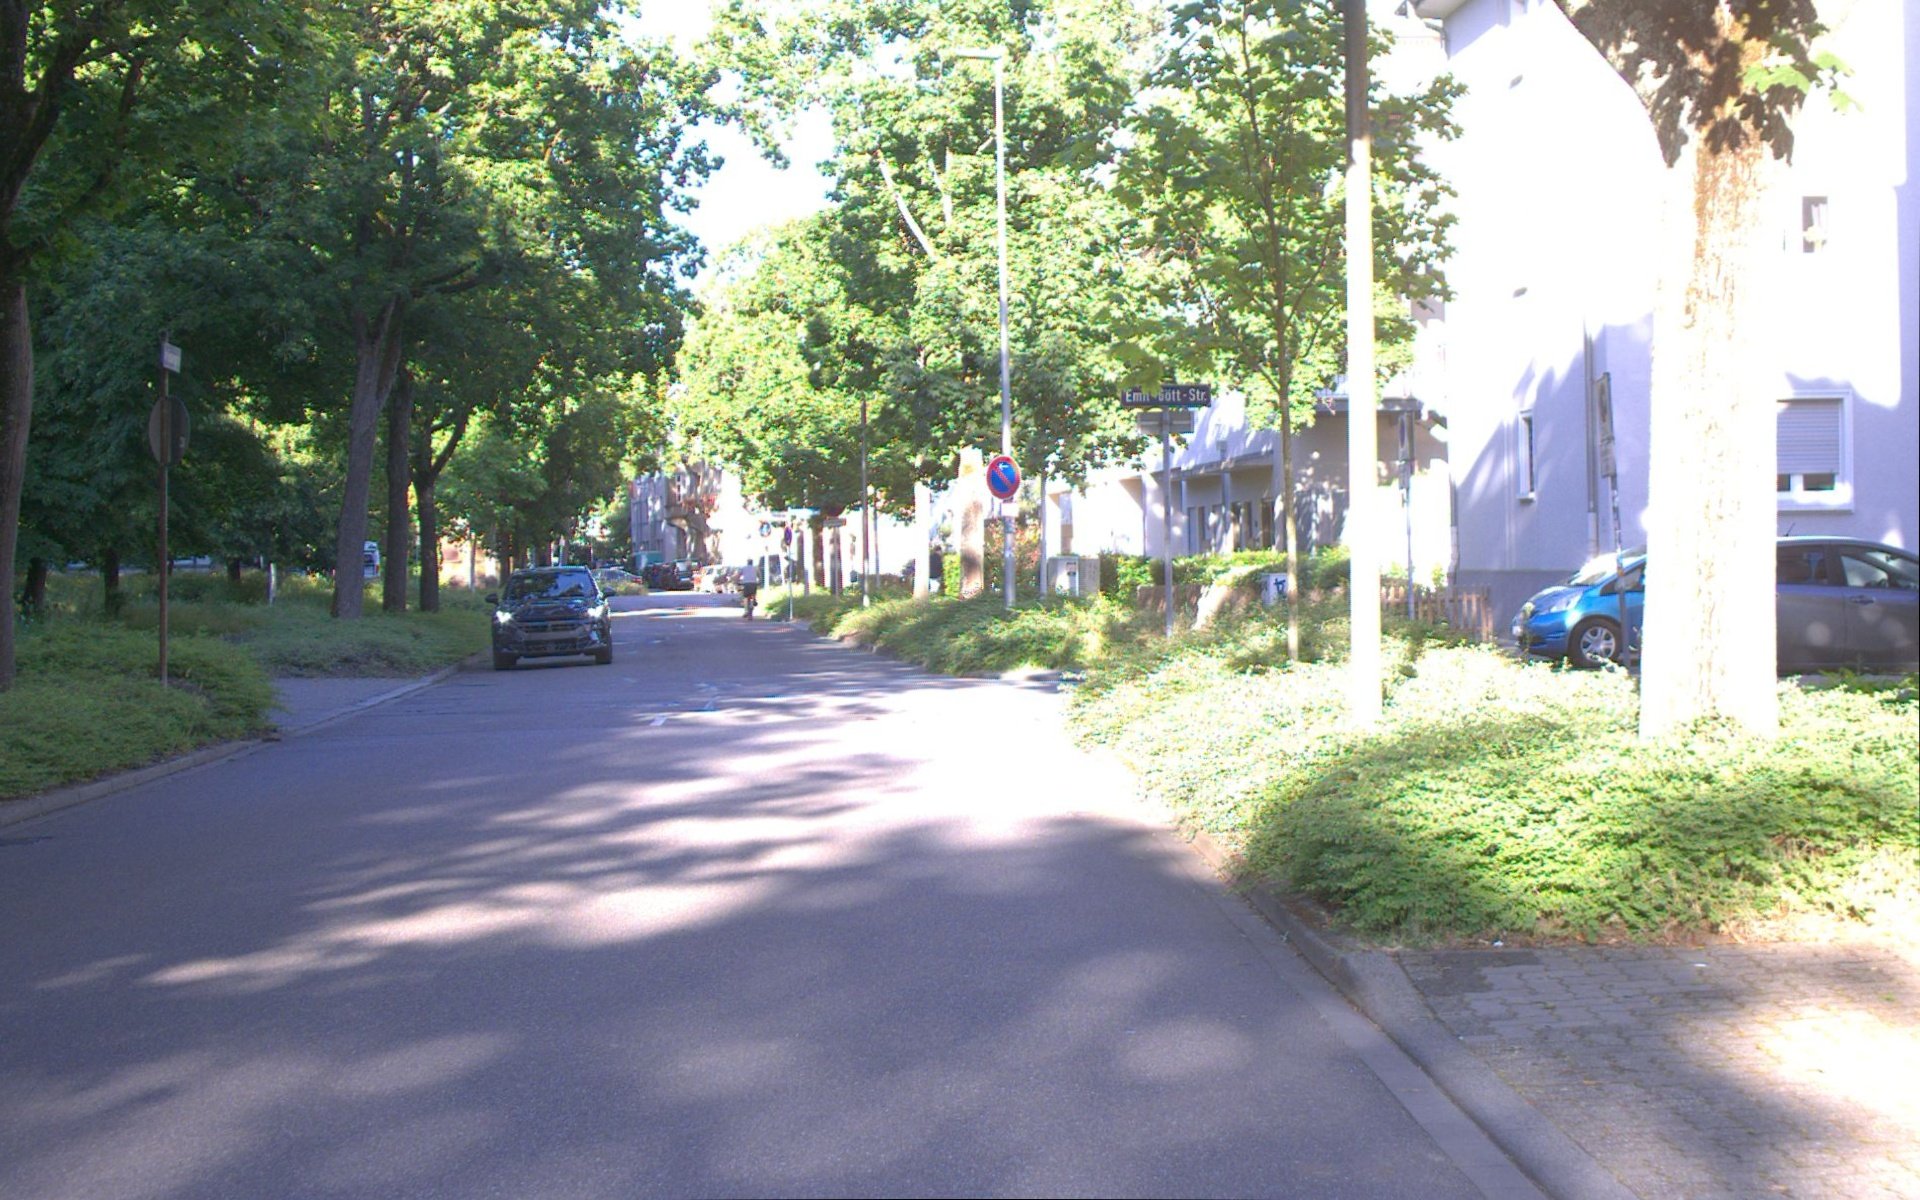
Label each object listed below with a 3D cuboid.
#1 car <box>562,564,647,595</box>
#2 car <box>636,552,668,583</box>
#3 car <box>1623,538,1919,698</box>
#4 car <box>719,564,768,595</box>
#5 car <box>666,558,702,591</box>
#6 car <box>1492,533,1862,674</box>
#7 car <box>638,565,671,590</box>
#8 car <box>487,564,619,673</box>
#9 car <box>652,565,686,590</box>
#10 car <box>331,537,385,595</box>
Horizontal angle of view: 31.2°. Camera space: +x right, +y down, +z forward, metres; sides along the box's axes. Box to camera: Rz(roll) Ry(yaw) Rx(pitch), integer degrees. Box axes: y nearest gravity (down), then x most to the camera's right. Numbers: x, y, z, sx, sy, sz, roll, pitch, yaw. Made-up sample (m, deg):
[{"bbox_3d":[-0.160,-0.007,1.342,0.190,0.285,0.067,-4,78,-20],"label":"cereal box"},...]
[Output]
[{"bbox_3d":[-17.766,-1.029,171.782,3.986,1.496,1.818,0,0,-13],"label":"car"},{"bbox_3d":[-20.380,-2.147,227.351,1.811,2.043,4.001,1,1,-9],"label":"car"},{"bbox_3d":[8.698,0.183,33.575,4.040,1.509,1.727,0,-1,-4],"label":"car"},{"bbox_3d":[-10.996,-1.047,174.344,1.811,1.496,4.001,-1,1,-13],"label":"car"},{"bbox_3d":[-16.271,-1.534,202.726,1.811,1.919,4.001,1,1,-9],"label":"car"},{"bbox_3d":[8.576,0.021,41.314,3.986,1.576,1.810,-1,2,-5],"label":"car"},{"bbox_3d":[-19.315,-1.431,217.198,1.811,1.496,4.001,1,1,-9],"label":"car"},{"bbox_3d":[-6.436,0.263,54.664,1.844,1.573,4.336,-2,1,-4],"label":"car"},{"bbox_3d":[-17.857,-1.389,210.761,1.811,1.496,4.001,1,1,-9],"label":"car"},{"bbox_3d":[-26.196,-1.466,149.531,1.993,2.499,4.001,0,0,-14],"label":"car"}]
